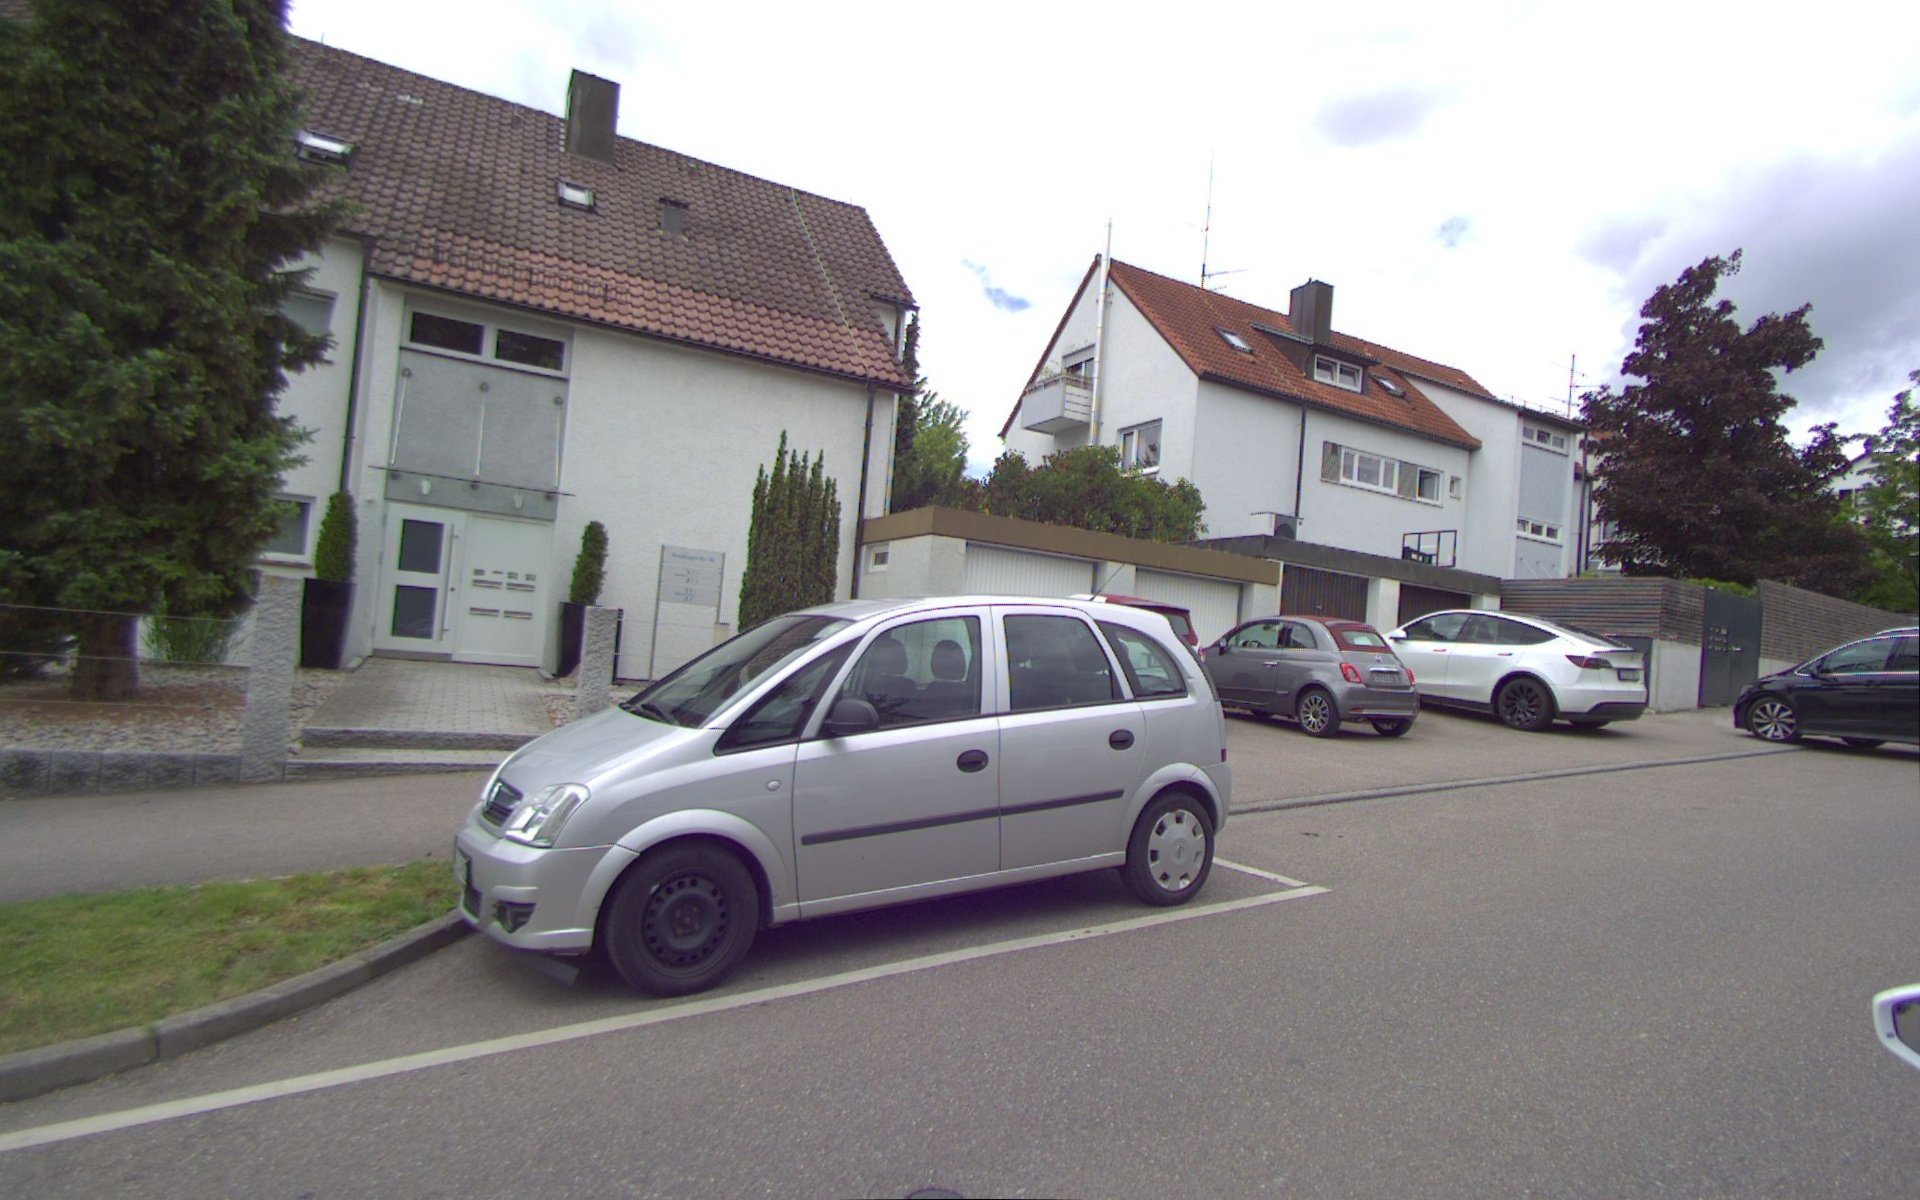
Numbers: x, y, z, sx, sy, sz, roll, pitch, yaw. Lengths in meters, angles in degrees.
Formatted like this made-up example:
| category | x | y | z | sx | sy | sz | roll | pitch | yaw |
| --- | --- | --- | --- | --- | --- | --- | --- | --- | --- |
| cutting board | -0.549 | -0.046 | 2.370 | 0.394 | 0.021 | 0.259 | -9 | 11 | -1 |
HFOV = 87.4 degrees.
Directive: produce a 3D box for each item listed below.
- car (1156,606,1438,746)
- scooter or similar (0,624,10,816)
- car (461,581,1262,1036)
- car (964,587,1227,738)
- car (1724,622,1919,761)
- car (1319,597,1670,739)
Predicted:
| category | x | y | z | sx | sy | sz | roll | pitch | yaw |
| --- | --- | --- | --- | --- | --- | --- | --- | --- | --- |
| car | 4.518 | 0.957 | 13.928 | 1.672 | 1.532 | 3.413 | 3 | 1 | -29 |
| scooter or similar | -6.468 | 0.715 | 5.746 | 1.430 | 1.164 | 0.474 | 2 | 1 | -15 |
| car | -0.409 | 0.793 | 5.273 | 3.812 | 1.583 | 1.751 | 2 | -2 | -32 |
| car | 1.641 | 0.730 | 13.208 | 1.637 | 1.599 | 3.413 | 3 | 1 | -29 |
| car | 12.478 | 1.163 | 12.804 | 1.820 | 1.633 | 4.305 | 2 | -1 | -8 |
| car | 8.008 | 0.915 | 15.507 | 1.889 | 1.651 | 4.387 | 2 | 2 | -31 |
